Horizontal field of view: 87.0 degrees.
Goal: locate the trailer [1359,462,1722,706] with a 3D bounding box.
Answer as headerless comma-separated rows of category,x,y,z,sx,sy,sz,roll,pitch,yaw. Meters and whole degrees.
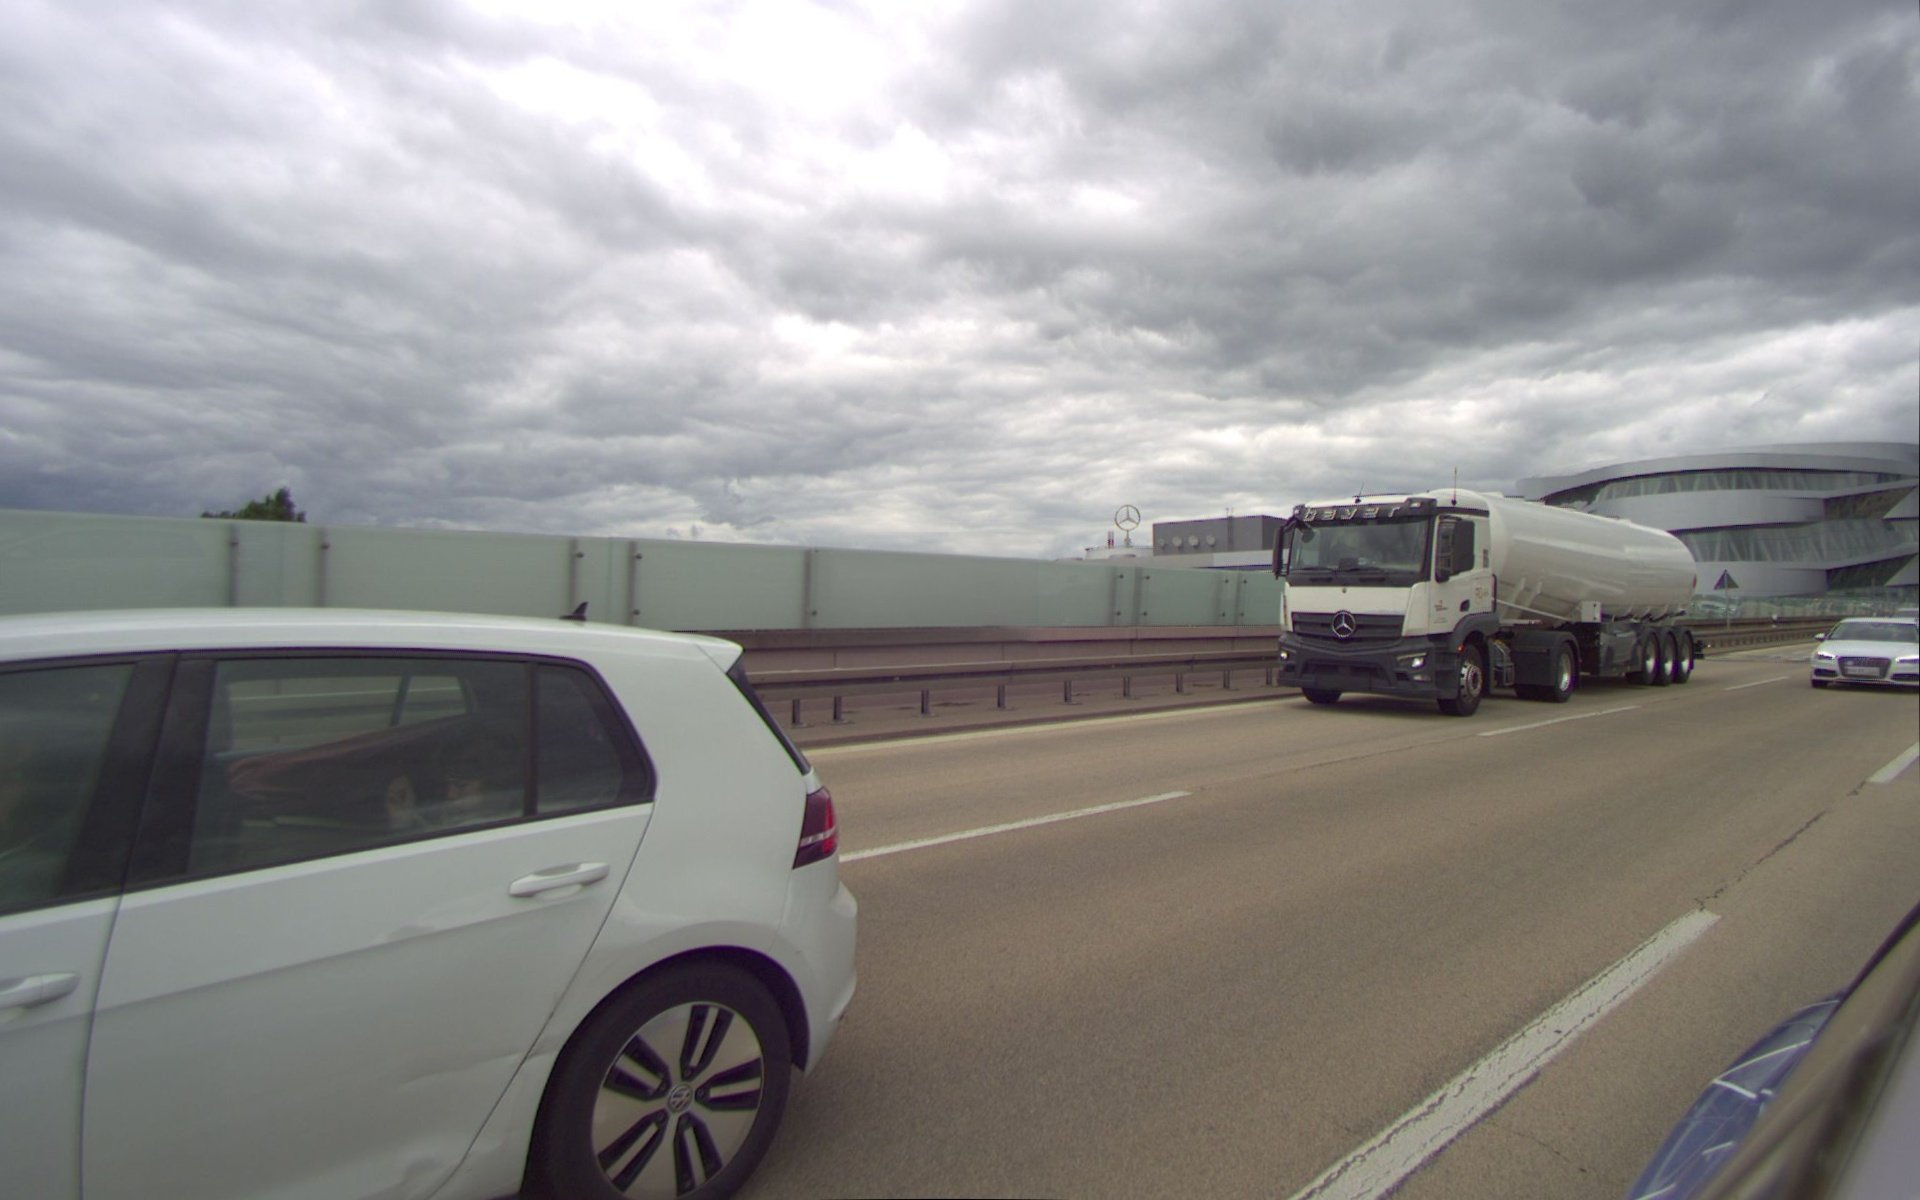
trailer,11.651,-0.264,19.491,11.025,3.588,2.654,0,0,-41

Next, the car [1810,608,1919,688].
car,18.901,0.903,20.518,3.861,1.470,1.848,1,0,-39

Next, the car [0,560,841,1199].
car,-2.379,0.652,1.917,4.002,1.470,1.757,0,1,-42

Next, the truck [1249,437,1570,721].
truck,6.890,-0.235,15.297,4.818,3.559,2.635,2,-1,-41

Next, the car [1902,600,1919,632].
car,51.389,0.850,53.606,3.564,1.654,1.784,0,0,-41
